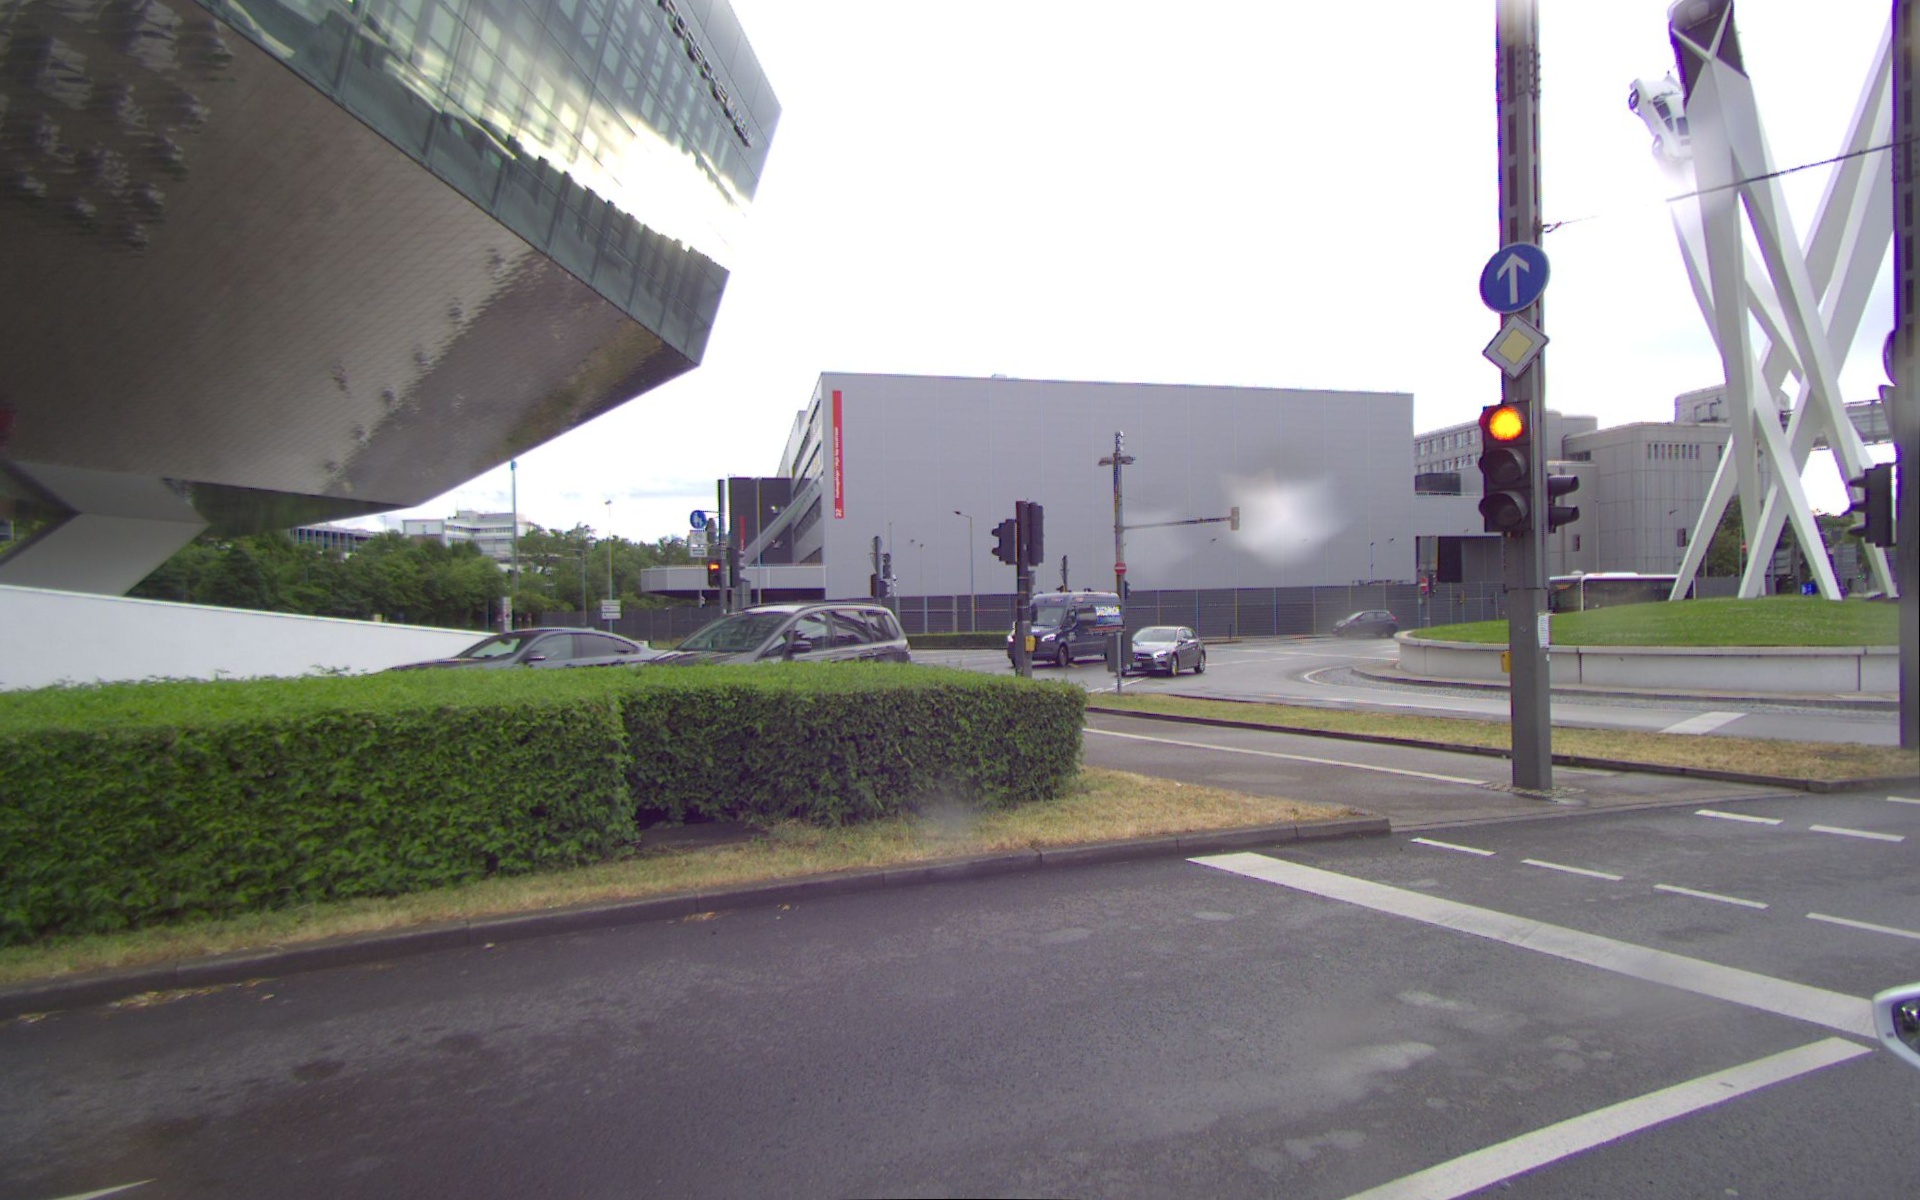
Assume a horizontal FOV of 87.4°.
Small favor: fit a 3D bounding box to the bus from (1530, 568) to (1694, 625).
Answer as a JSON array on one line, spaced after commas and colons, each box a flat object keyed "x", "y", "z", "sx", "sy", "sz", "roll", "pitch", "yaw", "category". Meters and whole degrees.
[{"x": 40.218, "y": -0.139, "z": 61.752, "sx": 12.508, "sy": 3.243, "sz": 2.659, "roll": 1, "pitch": 0, "yaw": -28, "category": "bus"}]

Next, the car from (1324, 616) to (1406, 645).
[{"x": 22.704, "y": 1.698, "z": 56.461, "sx": 3.919, "sy": 1.506, "sz": 1.780, "roll": 0, "pitch": 0, "yaw": 7, "category": "car"}]

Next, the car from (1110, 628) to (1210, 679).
[{"x": 6.092, "y": 1.557, "z": 30.277, "sx": 1.616, "sy": 1.356, "sz": 4.063, "roll": 0, "pitch": -1, "yaw": 32, "category": "car"}]

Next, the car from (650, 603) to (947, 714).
[{"x": -2.150, "y": 0.750, "z": 14.663, "sx": 1.807, "sy": 1.356, "sz": 4.475, "roll": 0, "pitch": -1, "yaw": 32, "category": "car"}]

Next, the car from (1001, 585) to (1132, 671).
[{"x": 4.100, "y": 1.005, "z": 37.212, "sx": 1.939, "sy": 2.858, "sz": 7.111, "roll": 0, "pitch": -1, "yaw": 32, "category": "car"}]
